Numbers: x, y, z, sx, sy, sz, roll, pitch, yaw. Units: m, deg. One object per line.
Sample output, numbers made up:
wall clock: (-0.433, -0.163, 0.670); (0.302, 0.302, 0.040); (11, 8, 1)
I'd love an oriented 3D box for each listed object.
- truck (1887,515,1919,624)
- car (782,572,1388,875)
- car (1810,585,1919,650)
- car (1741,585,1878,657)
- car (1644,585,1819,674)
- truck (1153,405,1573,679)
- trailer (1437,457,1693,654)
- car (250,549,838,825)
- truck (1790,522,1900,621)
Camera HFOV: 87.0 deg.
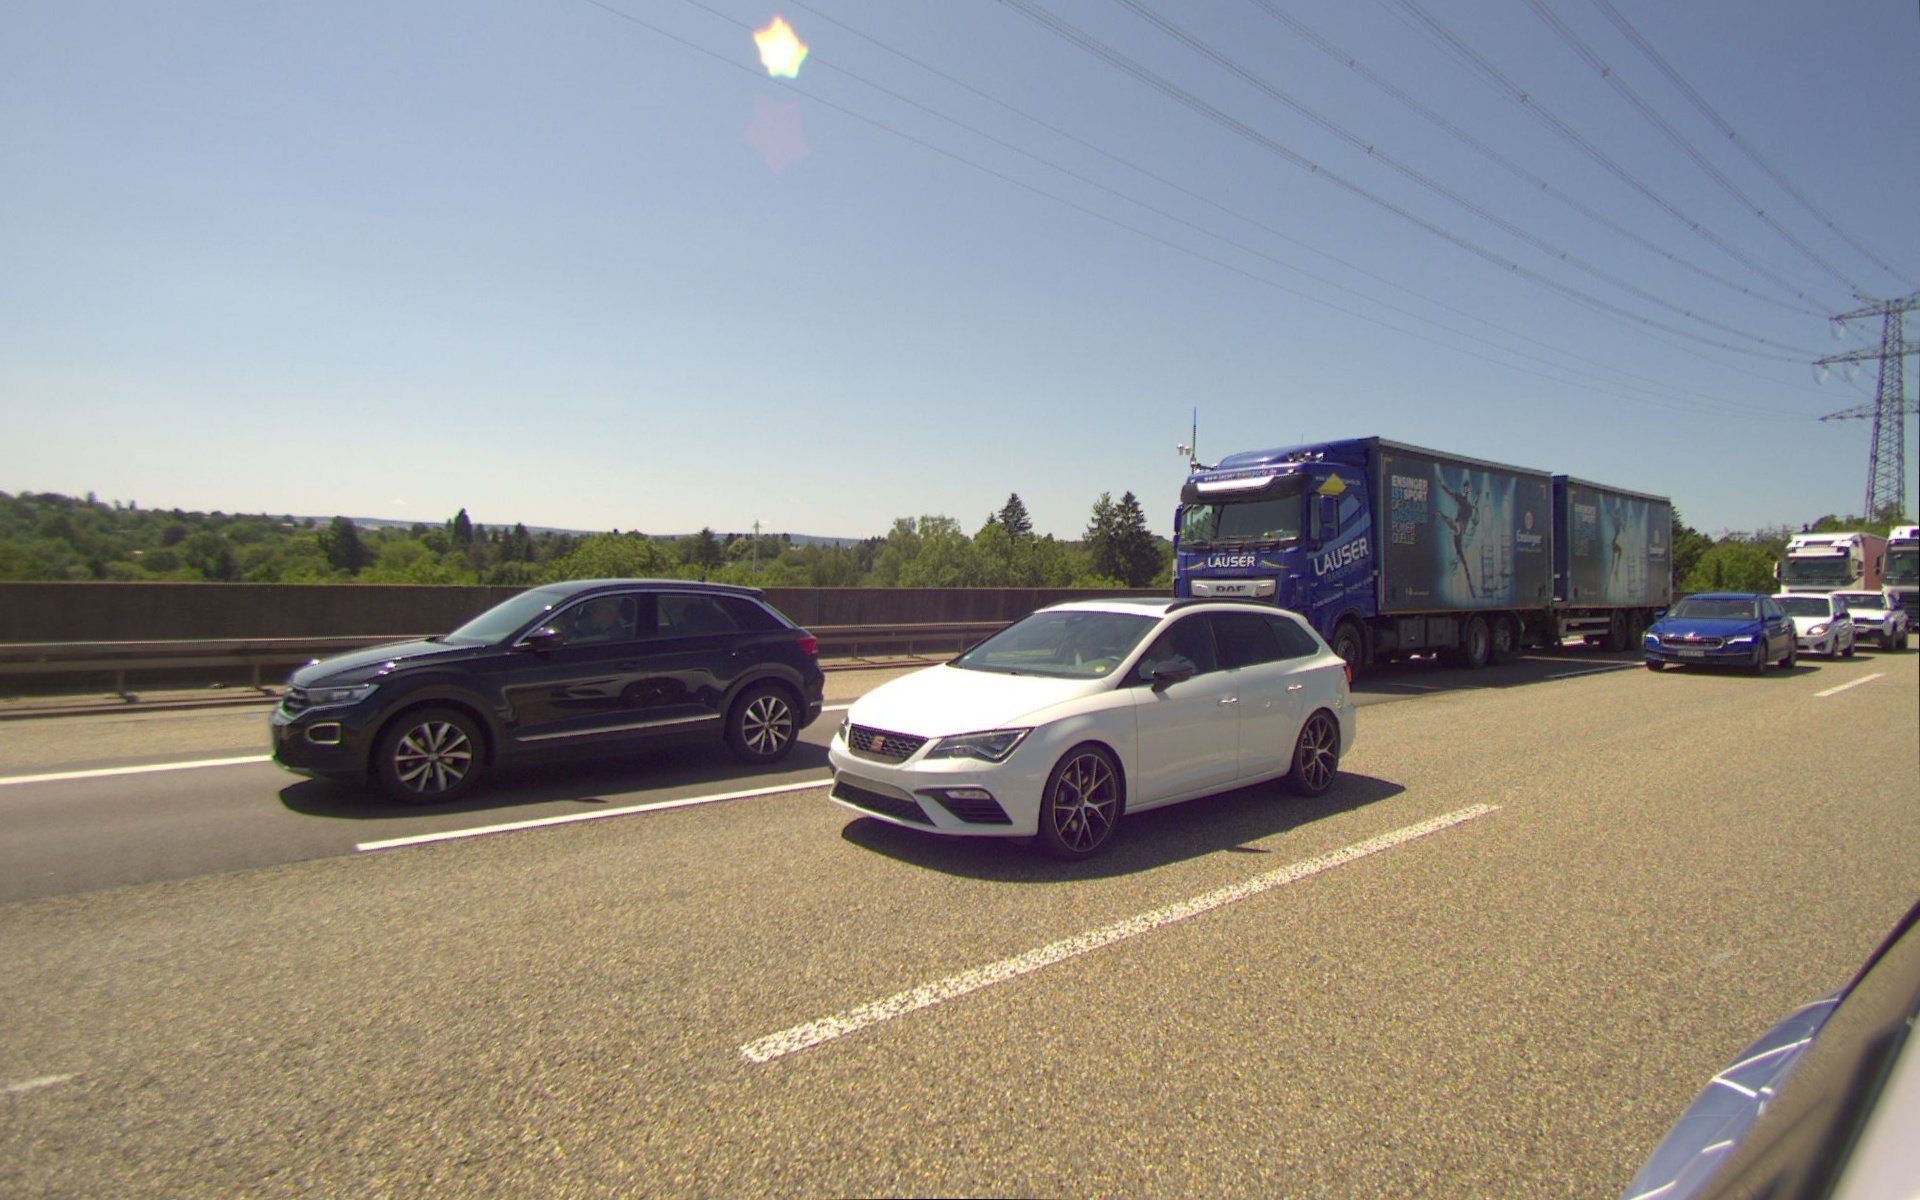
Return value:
truck: (37.392, -1.138, 38.042); (8.121, 3.874, 2.847); (-1, 1, -41)
car: (1.098, 0.592, 7.002); (4.351, 1.470, 1.711); (0, 0, -41)
car: (23.365, 0.387, 25.960); (4.071, 1.528, 1.712); (-1, 1, -40)
car: (19.443, 0.424, 23.104); (4.071, 1.470, 1.712); (-1, 1, -40)
car: (14.744, 0.473, 19.254); (4.482, 1.470, 1.712); (-1, 1, -40)
truck: (8.063, -0.934, 19.119); (10.210, 3.999, 2.857); (-1, 1, -40)
trailer: (15.217, -1.005, 25.127); (8.485, 4.140, 2.833); (-1, 1, -40)
car: (-3.149, 0.493, 8.119); (4.046, 1.675, 1.711); (-1, 1, -40)
truck: (39.357, -1.243, 44.906); (8.121, 4.037, 2.606); (-1, 1, -41)
